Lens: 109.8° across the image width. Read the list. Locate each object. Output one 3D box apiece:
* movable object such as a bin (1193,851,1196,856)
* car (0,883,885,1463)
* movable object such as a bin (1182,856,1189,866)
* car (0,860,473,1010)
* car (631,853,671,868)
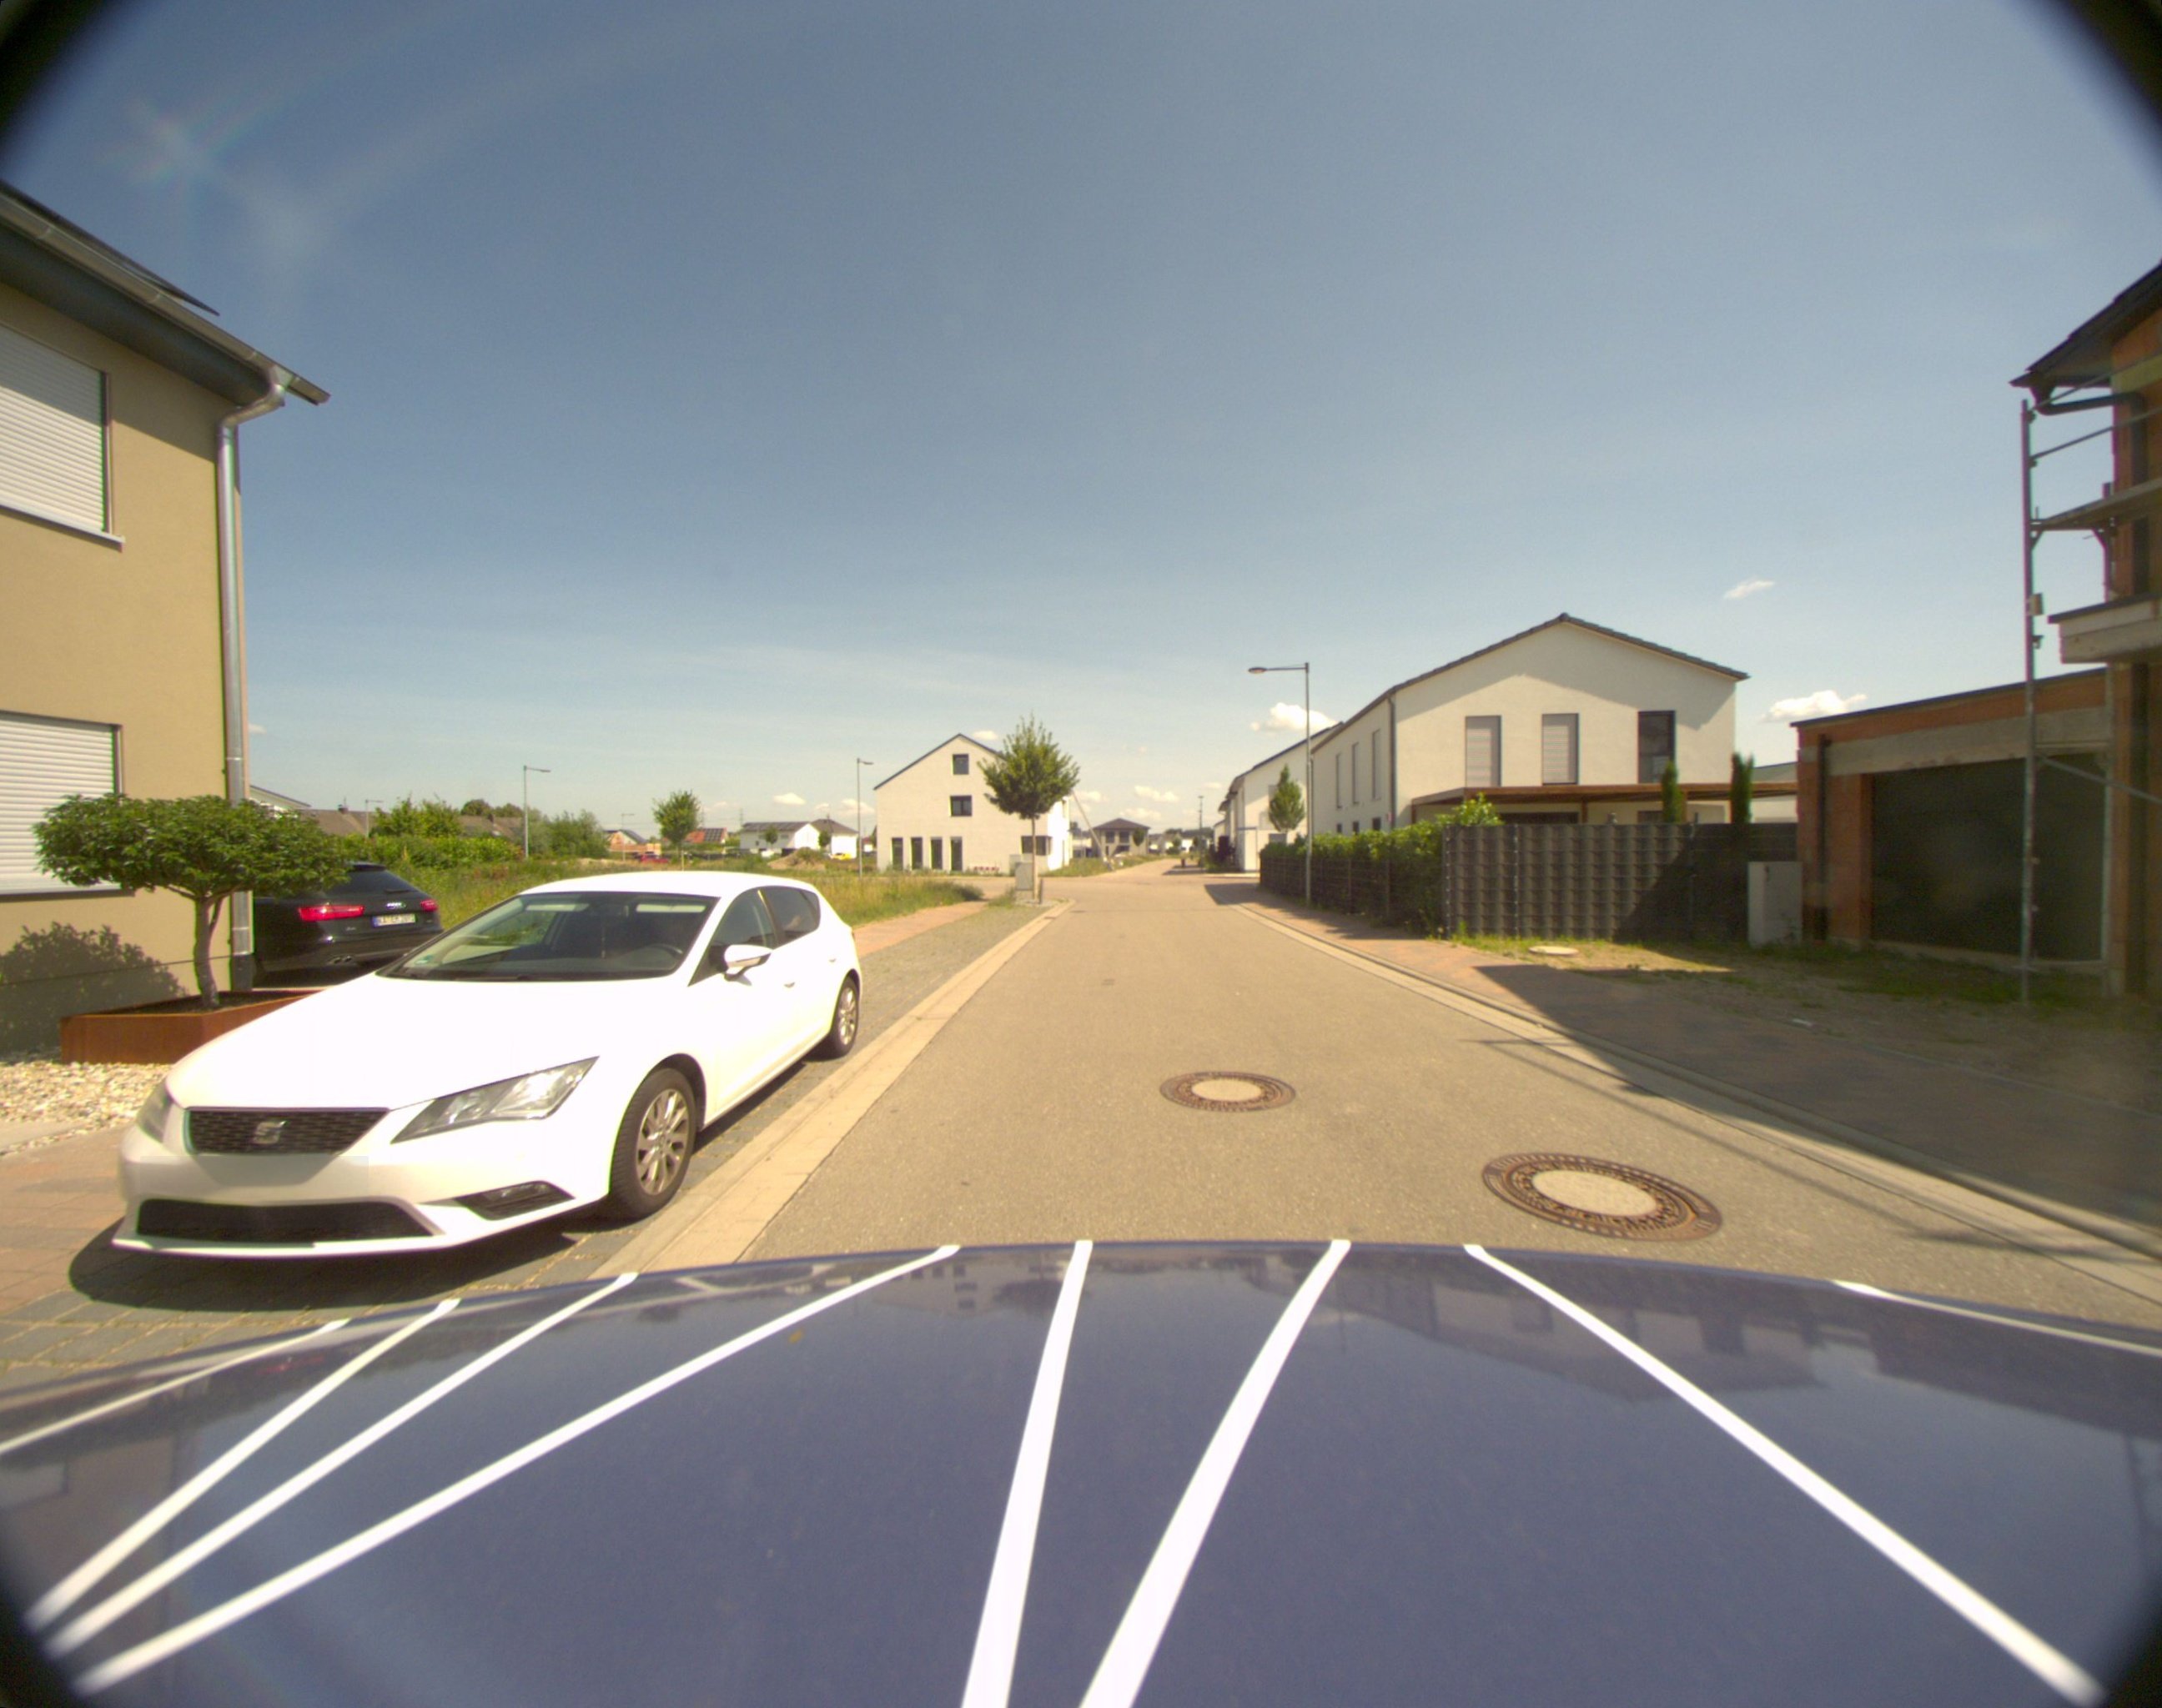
[{"bbox_3d":[20.935,-0.002,140.327,0.597,0.916,0.462,-1,1,10],"label":"movable object such as a bin"},{"bbox_3d":[-2.682,0.999,4.454,1.819,1.447,4.564,1,0,1],"label":"car"},{"bbox_3d":[9.635,0.633,69.911,0.597,0.916,0.462,-1,1,10],"label":"movable object such as a bin"},{"bbox_3d":[-10.437,0.854,9.014,4.899,1.417,2.000,2,0,2],"label":"car"},{"bbox_3d":[-48.226,0.671,85.311,1.807,1.606,4.002,0,1,9],"label":"car"}]
